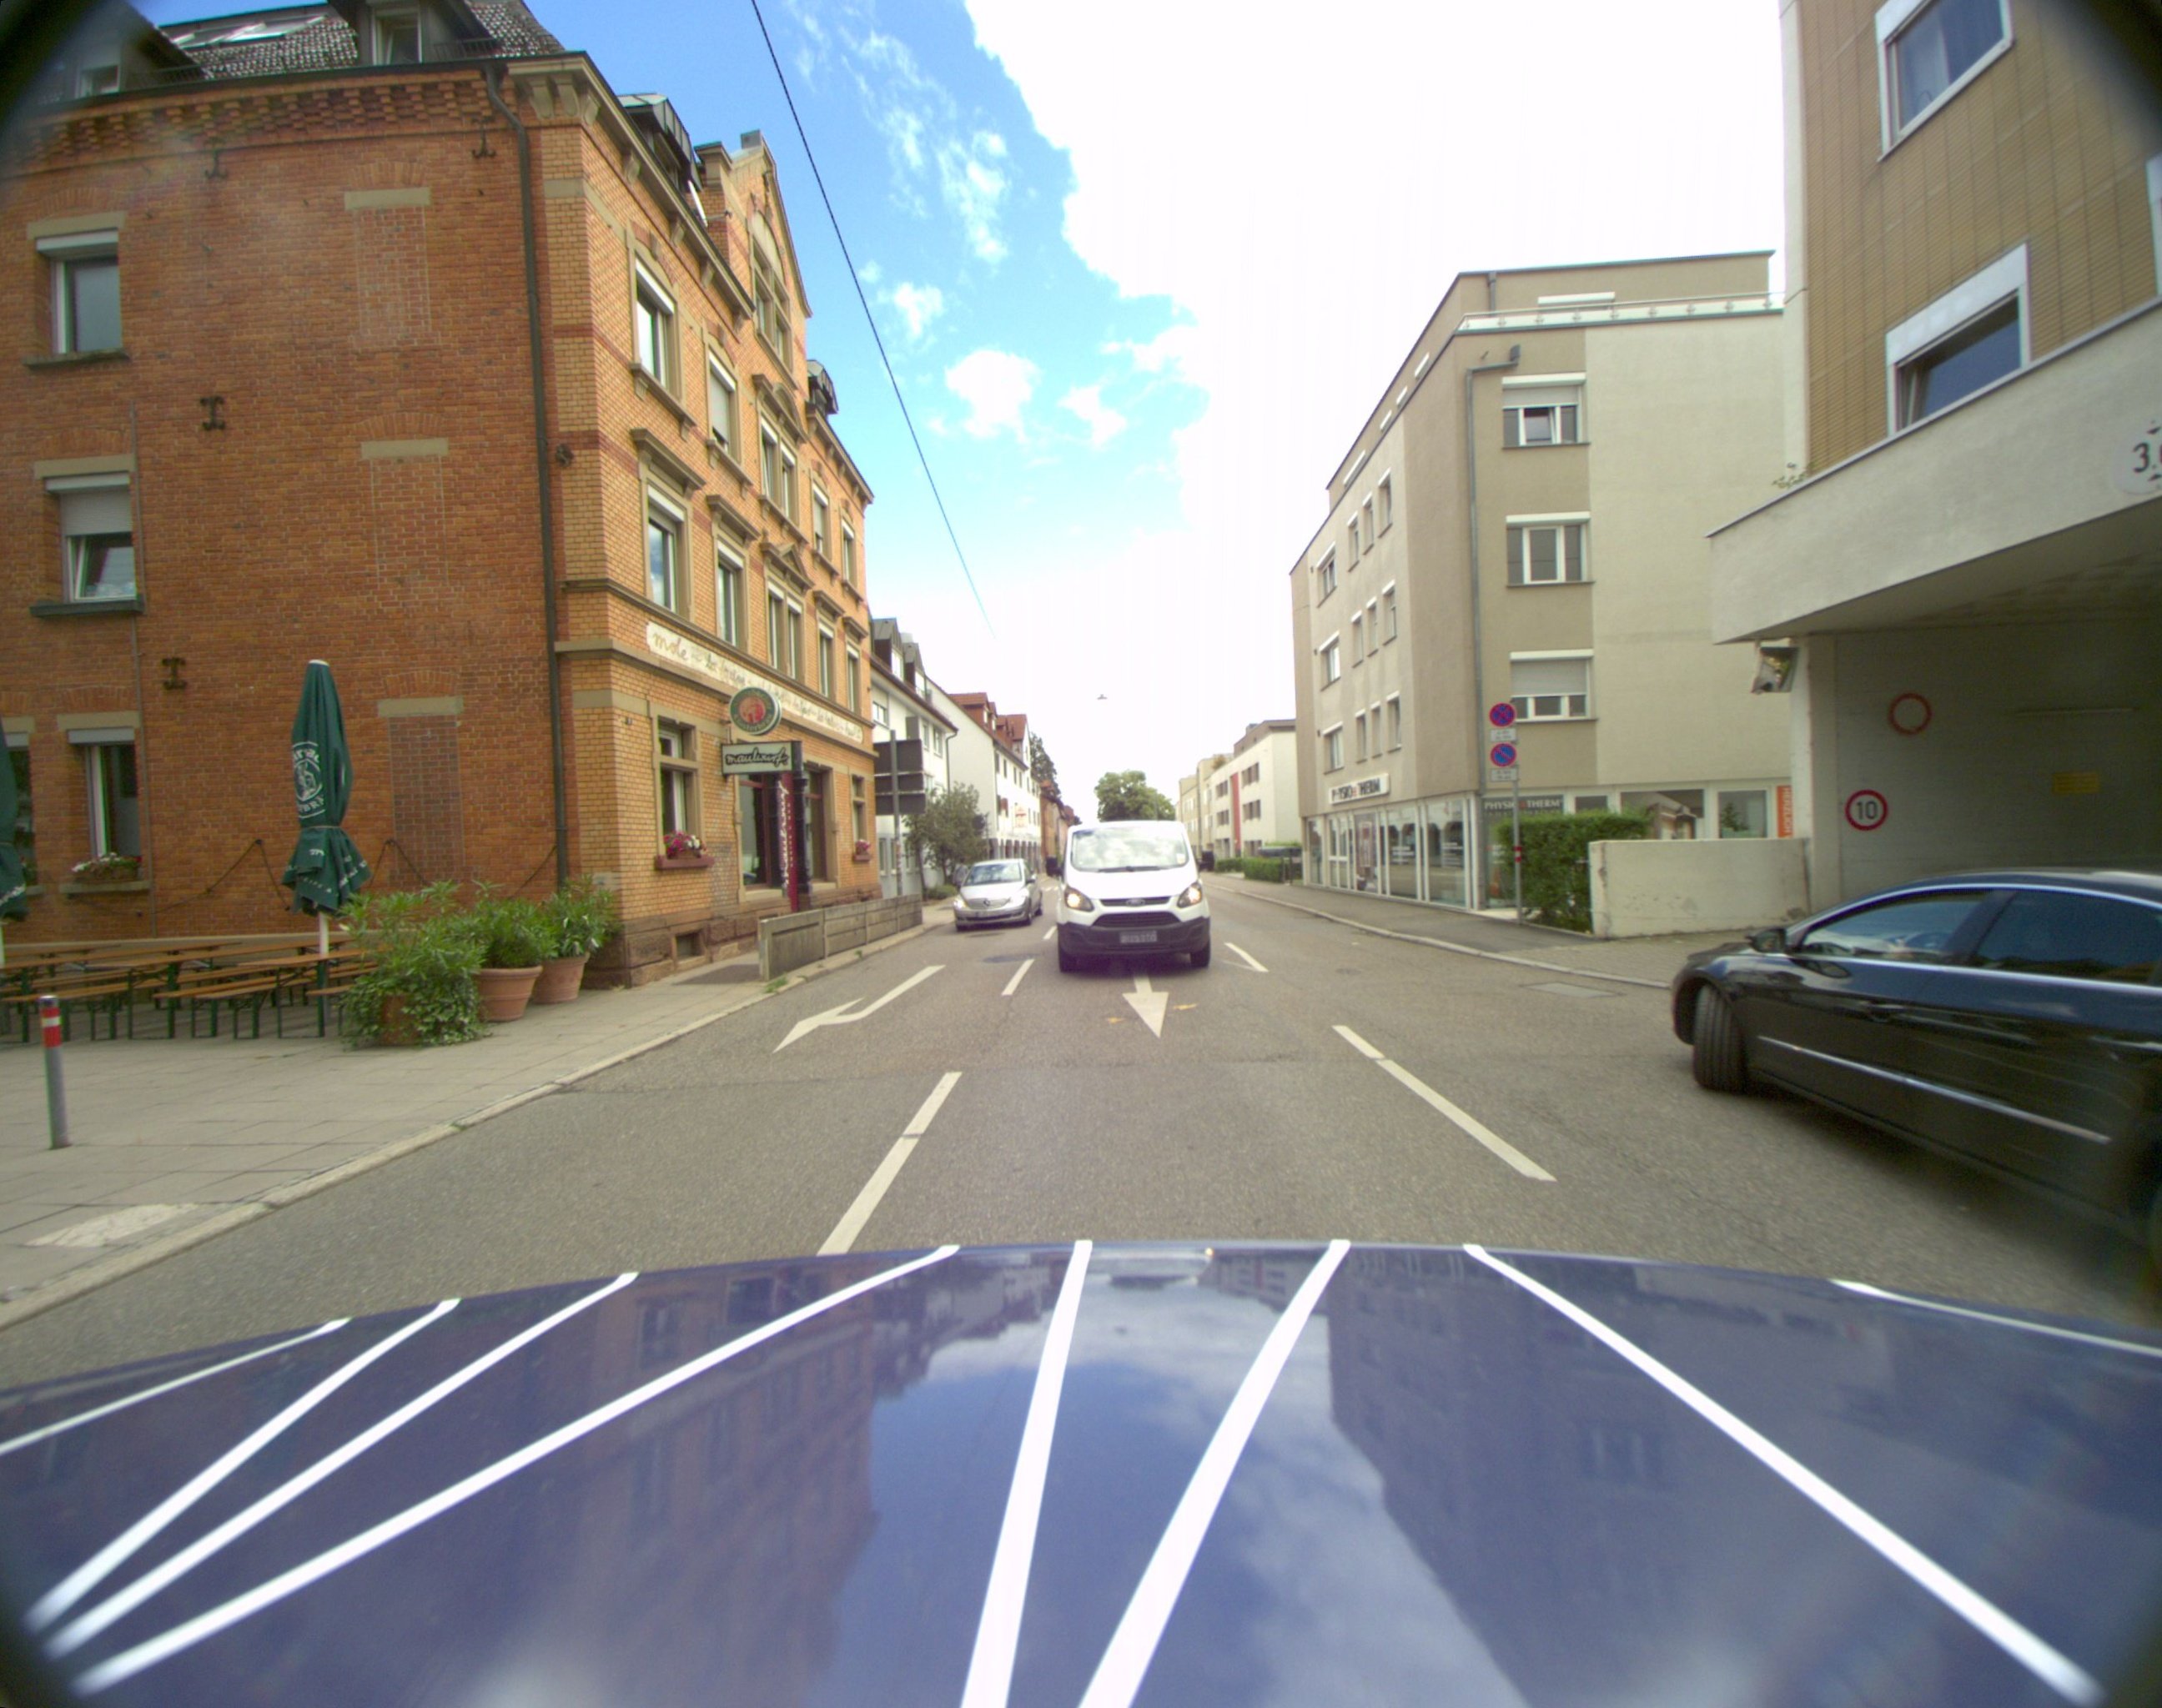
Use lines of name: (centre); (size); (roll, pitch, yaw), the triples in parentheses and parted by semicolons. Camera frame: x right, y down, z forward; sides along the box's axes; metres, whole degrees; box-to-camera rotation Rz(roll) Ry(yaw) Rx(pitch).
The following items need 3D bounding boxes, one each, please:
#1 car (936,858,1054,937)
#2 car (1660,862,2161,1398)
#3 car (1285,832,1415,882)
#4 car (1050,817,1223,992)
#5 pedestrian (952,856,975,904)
car: (-2.013, 0.992, 19.295); (1.998, 1.537, 4.572); (-5, 0, 5)
car: (4.061, 0.822, 2.643); (1.654, 1.390, 4.458); (-2, 1, 15)
car: (11.916, 0.114, 33.907); (5.082, 1.986, 1.967); (-2, 1, 4)
car: (0.660, 0.586, 11.482); (1.965, 1.986, 5.087); (-2, 0, 0)
pedestrian: (-4.335, 0.954, 28.107); (0.690, 1.721, 0.650); (-2, 1, 0)
